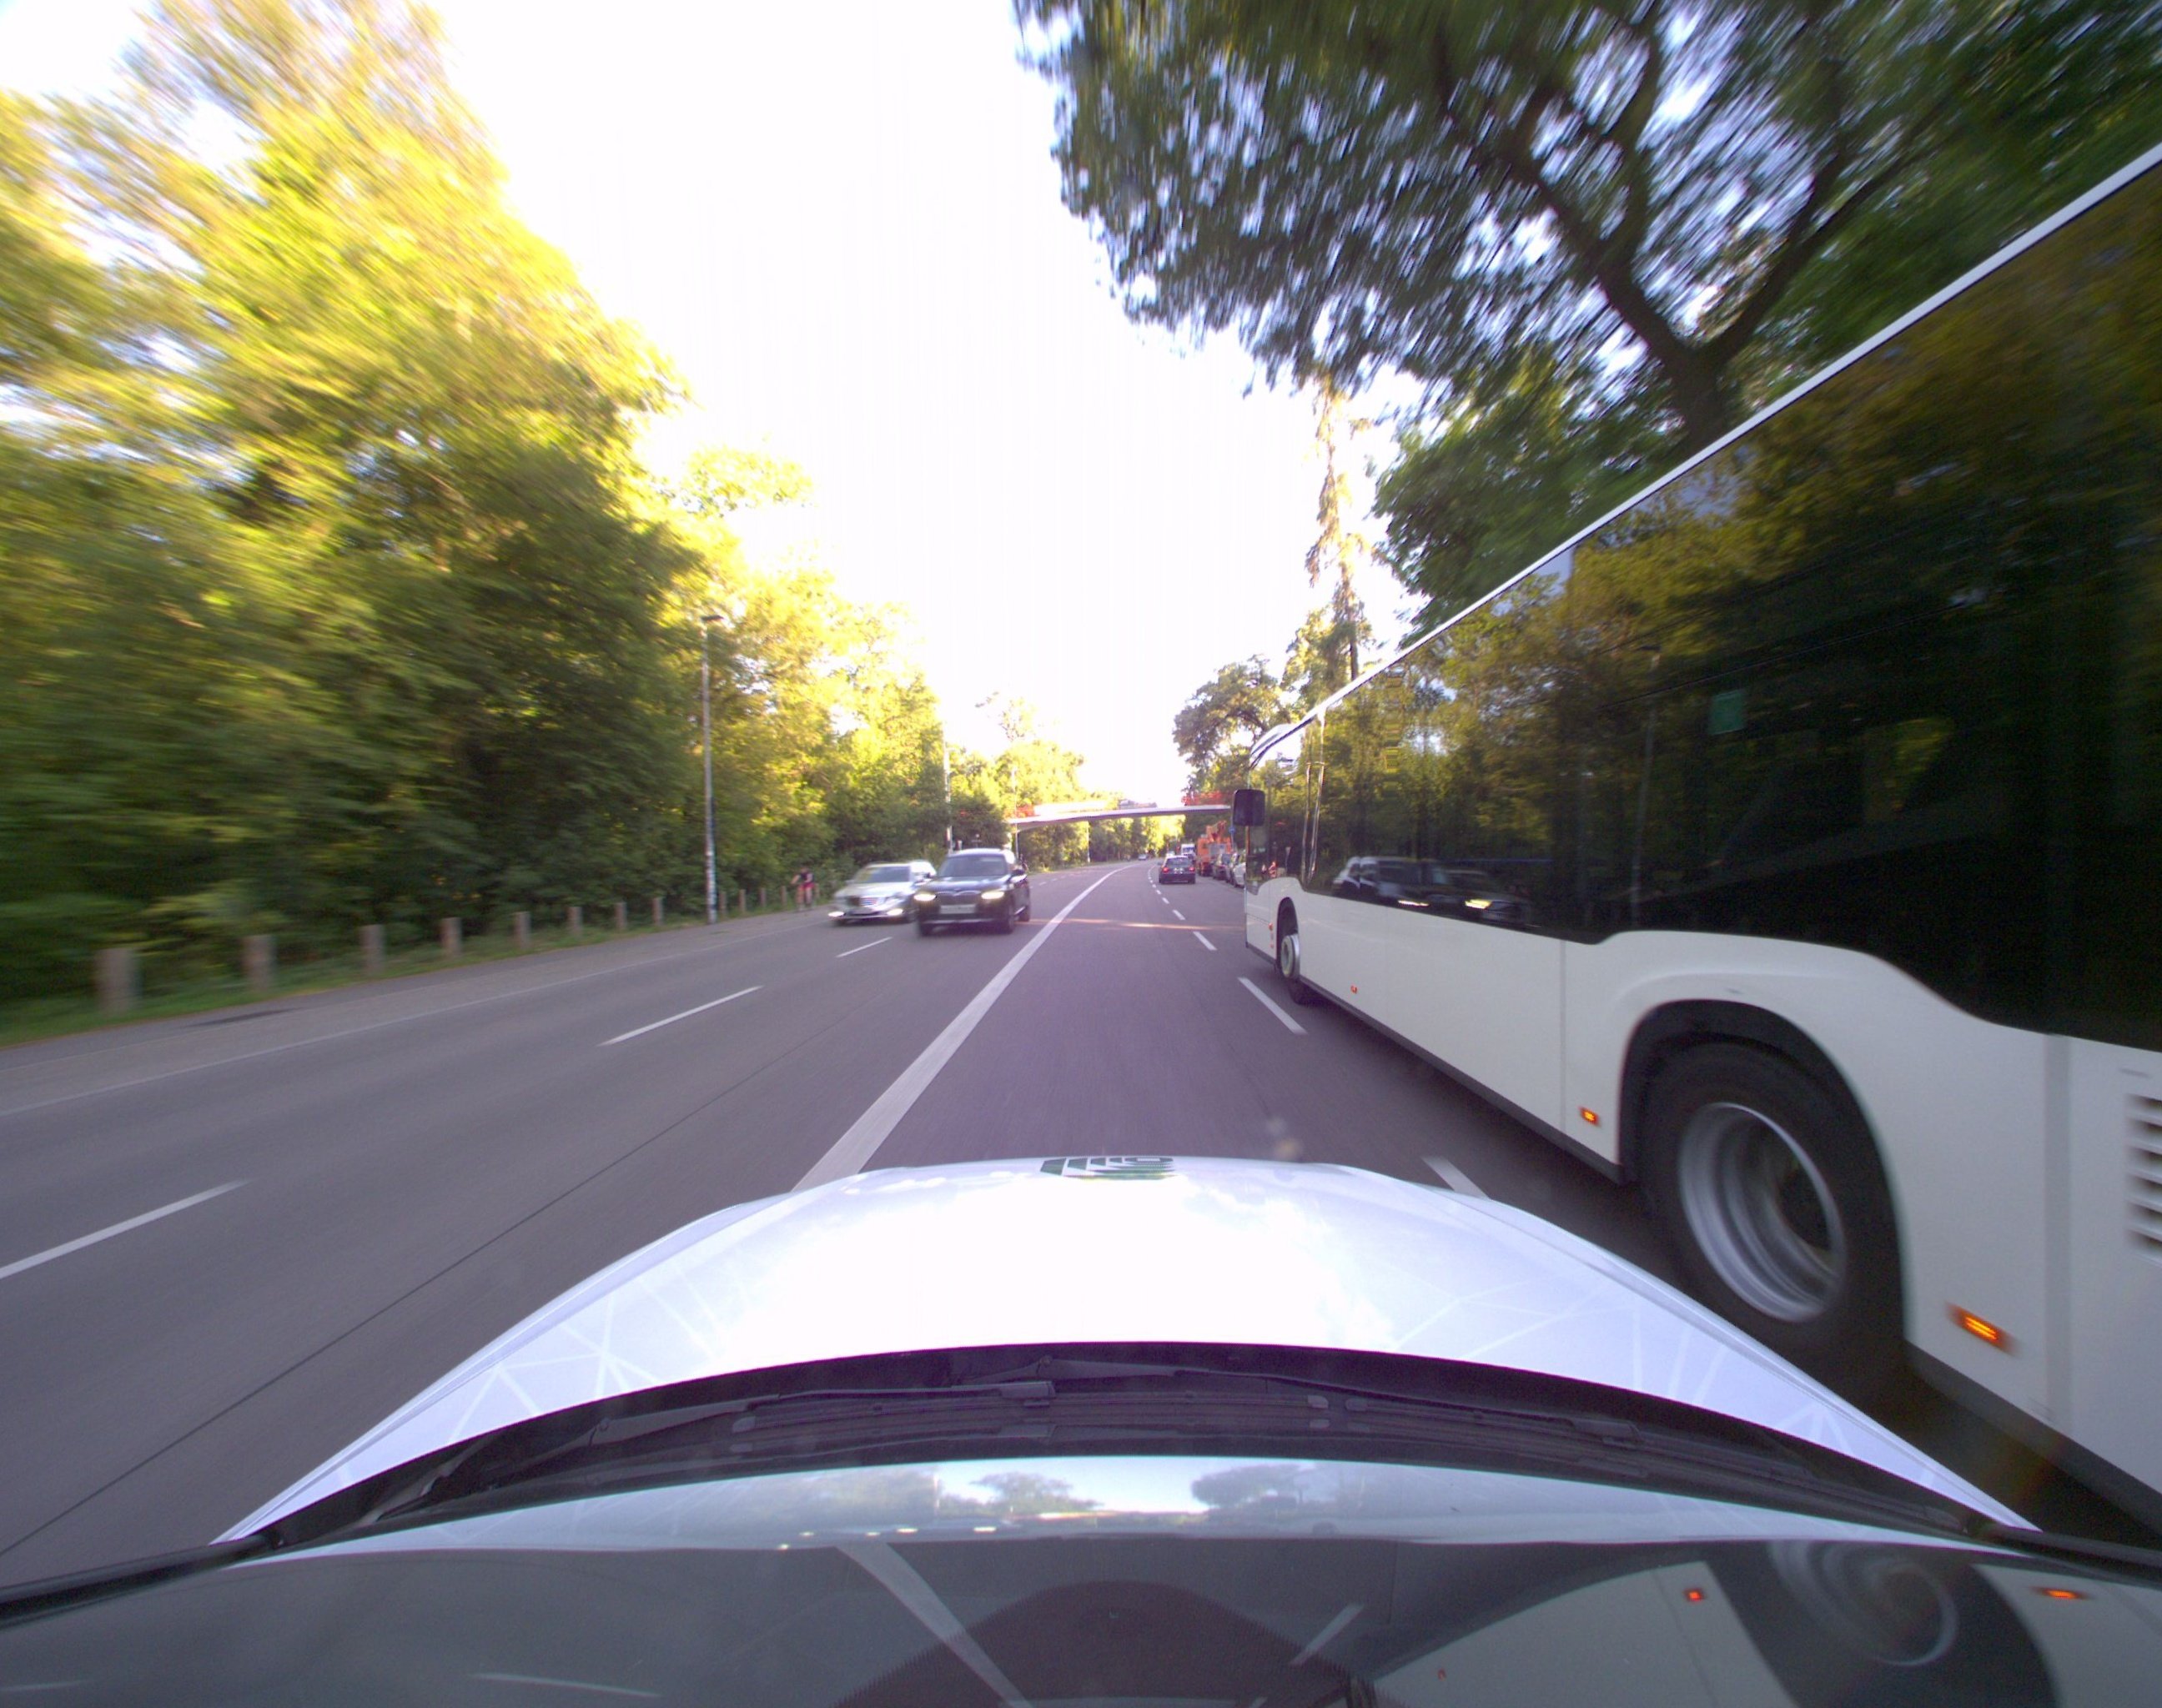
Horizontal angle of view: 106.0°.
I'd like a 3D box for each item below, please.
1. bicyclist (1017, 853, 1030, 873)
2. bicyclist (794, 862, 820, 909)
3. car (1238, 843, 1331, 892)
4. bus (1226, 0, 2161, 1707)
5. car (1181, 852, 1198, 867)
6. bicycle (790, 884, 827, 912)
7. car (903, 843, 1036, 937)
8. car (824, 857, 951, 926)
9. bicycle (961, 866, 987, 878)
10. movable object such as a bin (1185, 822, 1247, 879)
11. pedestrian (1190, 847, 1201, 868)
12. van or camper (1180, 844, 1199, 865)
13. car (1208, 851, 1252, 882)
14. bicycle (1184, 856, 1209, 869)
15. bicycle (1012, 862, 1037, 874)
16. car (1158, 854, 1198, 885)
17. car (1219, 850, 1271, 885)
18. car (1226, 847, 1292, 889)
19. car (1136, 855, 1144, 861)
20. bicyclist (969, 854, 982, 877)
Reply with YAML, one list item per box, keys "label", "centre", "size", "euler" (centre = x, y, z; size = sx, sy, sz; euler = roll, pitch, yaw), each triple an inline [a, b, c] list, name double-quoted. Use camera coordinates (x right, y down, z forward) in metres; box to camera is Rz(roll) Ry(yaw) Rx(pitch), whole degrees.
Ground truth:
- label: "bicyclist"
  centre: [-4.850, 0.772, 68.664]
  size: [0.789, 1.643, 0.844]
  euler: [-2, 0, 14]
- label: "bicyclist"
  centre: [-9.156, 1.042, 27.205]
  size: [0.497, 1.484, 0.761]
  euler: [-4, 0, 2]
- label: "car"
  centre: [6.928, 0.459, 28.172]
  size: [1.726, 1.542, 4.078]
  euler: [0, -1, -8]
- label: "bus"
  centre: [3.231, -0.159, 5.368]
  size: [2.694, 3.222, 12.283]
  euler: [-1, 0, 2]
- label: "car"
  centre: [12.141, 0.621, 91.311]
  size: [1.713, 1.496, 3.784]
  euler: [-4, -1, 9]
- label: "bicycle"
  centre: [-9.133, 1.457, 27.346]
  size: [0.493, 0.813, 1.809]
  euler: [-4, 0, 2]
- label: "car"
  centre: [-2.221, 0.689, 17.501]
  size: [1.910, 1.704, 4.446]
  euler: [-2, 0, 4]
- label: "car"
  centre: [-4.838, 0.884, 21.096]
  size: [1.890, 1.531, 4.533]
  euler: [-2, 0, 4]
- label: "bicycle"
  centre: [-9.011, 1.537, 68.637]
  size: [1.913, 0.934, 0.827]
  euler: [-3, -1, 14]
- label: "movable object such as a bin"
  centre: [8.591, -0.216, 52.648]
  size: [2.749, 3.370, 7.600]
  euler: [-2, 0, 0]
- label: "pedestrian"
  centre: [10.117, 0.318, 72.141]
  size: [0.696, 1.852, 0.939]
  euler: [-4, -1, 1]
- label: "van or camper"
  centre: [13.599, 0.084, 102.415]
  size: [2.108, 2.517, 5.989]
  euler: [-2, 0, 6]
- label: "car"
  centre: [8.056, 0.643, 44.401]
  size: [1.721, 1.574, 4.091]
  euler: [-2, 0, 2]
- label: "bicycle"
  centre: [10.247, 0.777, 72.128]
  size: [2.054, 1.068, 0.870]
  euler: [-3, -1, 1]
- label: "bicycle"
  centre: [-4.733, 1.215, 68.635]
  size: [1.913, 0.934, 0.828]
  euler: [-2, 0, 14]
- label: "car"
  centre: [4.851, 0.755, 41.169]
  size: [1.720, 1.441, 4.094]
  euler: [-2, 0, 4]
- label: "car"
  centre: [7.783, 0.599, 38.997]
  size: [1.721, 1.574, 4.091]
  euler: [-1, 0, 2]
- label: "car"
  centre: [7.237, 0.558, 33.461]
  size: [1.831, 1.574, 4.461]
  euler: [-2, 0, 2]
- label: "car"
  centre: [14.634, 0.940, 202.242]
  size: [1.673, 1.407, 3.896]
  euler: [-3, -1, 6]
- label: "bicyclist"
  centre: [-8.920, 0.974, 68.616]
  size: [0.789, 1.901, 0.820]
  euler: [-2, 0, 14]
